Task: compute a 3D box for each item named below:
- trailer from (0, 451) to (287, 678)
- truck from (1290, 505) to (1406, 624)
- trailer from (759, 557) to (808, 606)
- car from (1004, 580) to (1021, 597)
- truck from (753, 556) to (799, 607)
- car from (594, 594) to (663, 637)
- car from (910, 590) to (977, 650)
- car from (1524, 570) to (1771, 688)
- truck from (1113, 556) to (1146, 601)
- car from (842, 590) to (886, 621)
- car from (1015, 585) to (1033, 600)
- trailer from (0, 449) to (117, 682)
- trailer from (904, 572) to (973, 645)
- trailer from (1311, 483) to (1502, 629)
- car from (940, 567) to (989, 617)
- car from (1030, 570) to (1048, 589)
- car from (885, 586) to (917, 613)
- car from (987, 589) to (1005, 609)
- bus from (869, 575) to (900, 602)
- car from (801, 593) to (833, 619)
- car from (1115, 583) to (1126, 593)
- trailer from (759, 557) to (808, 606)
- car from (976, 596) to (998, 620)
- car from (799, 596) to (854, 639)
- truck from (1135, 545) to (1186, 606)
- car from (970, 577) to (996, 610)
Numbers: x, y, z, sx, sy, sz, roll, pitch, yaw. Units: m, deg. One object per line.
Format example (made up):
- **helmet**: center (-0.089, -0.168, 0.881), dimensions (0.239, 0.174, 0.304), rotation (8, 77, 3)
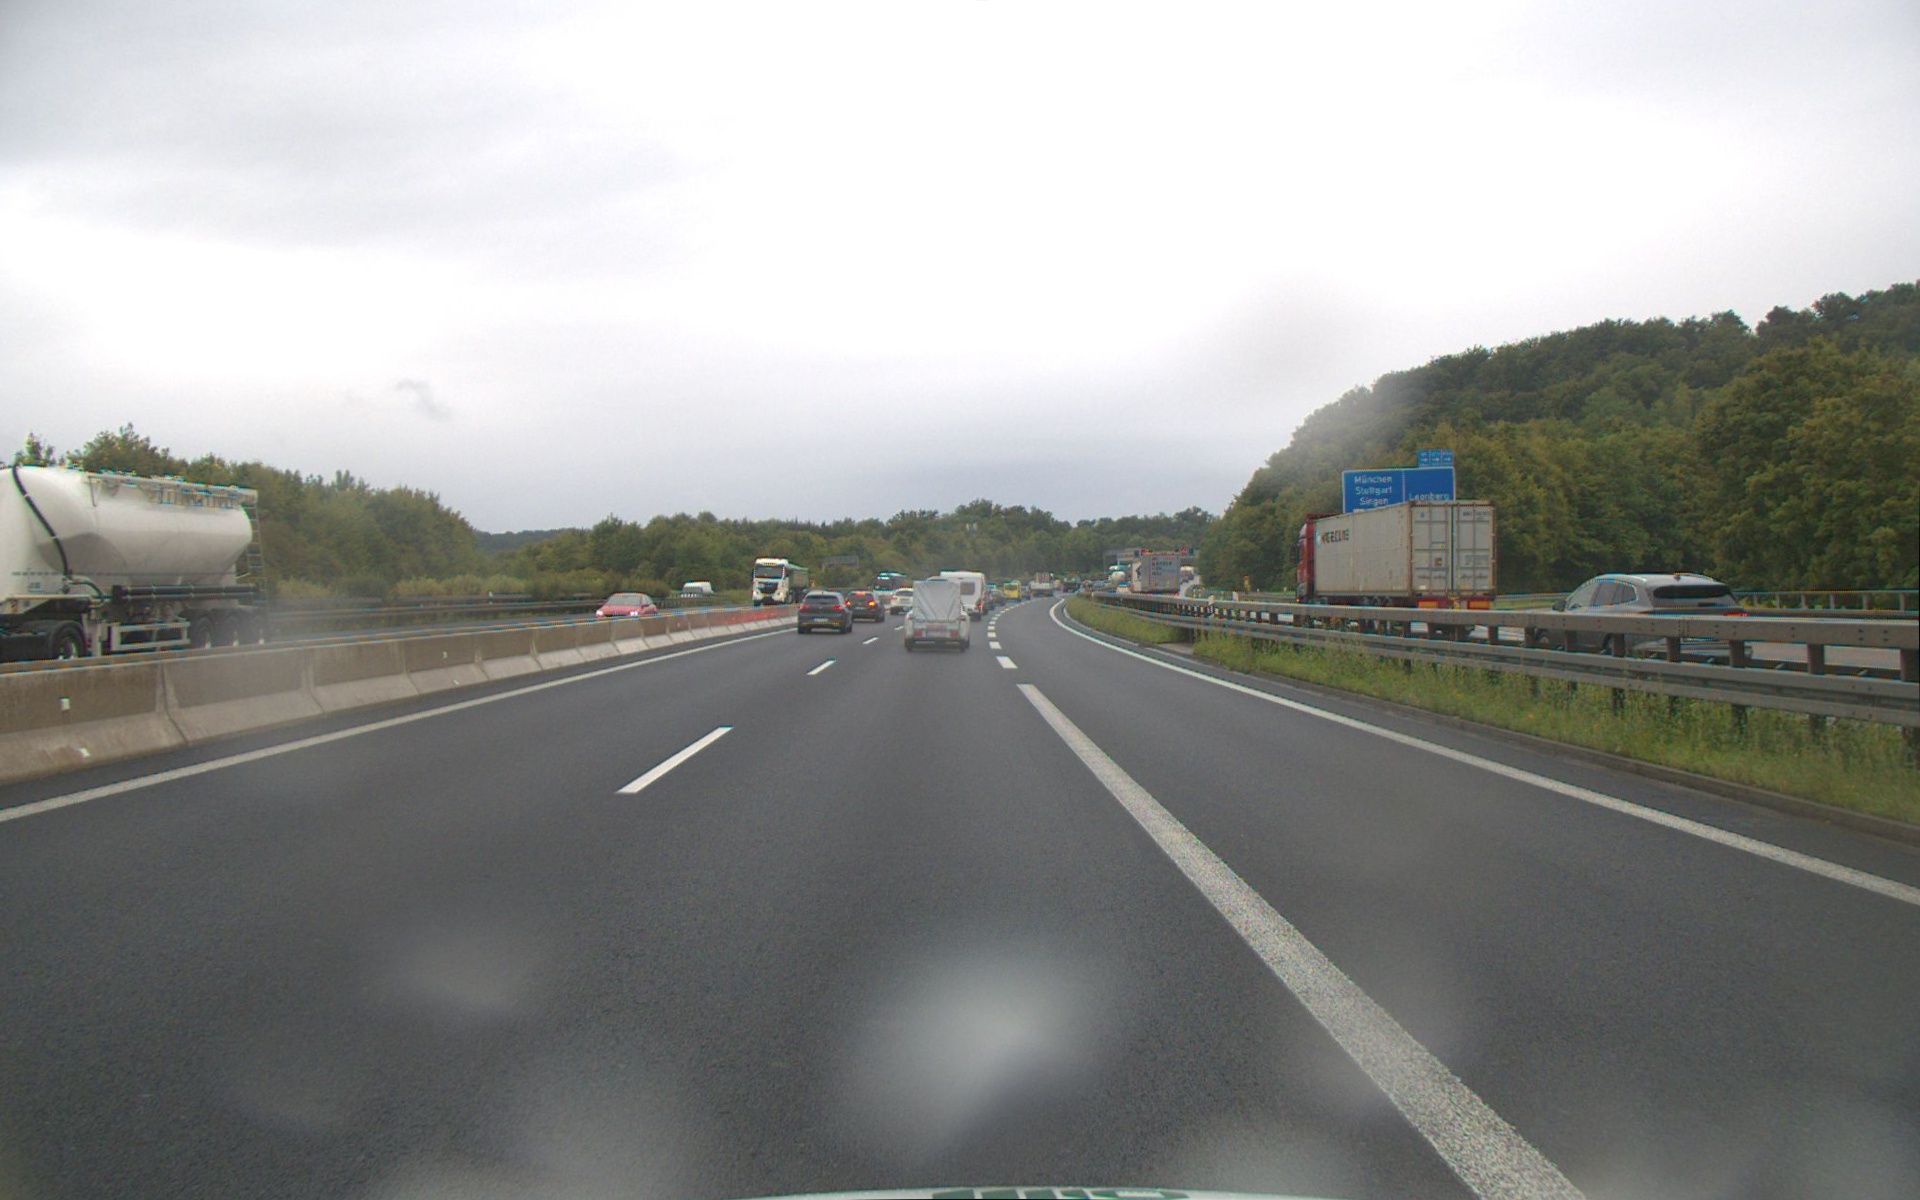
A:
- **trailer**: center (-16.906, -0.588, 32.982), dimensions (2.582, 3.801, 10.810), rotation (0, 0, 0)
- **truck**: center (13.484, -1.169, 57.978), dimensions (2.562, 3.952, 6.391), rotation (0, 0, 0)
- **trailer**: center (-14.041, -1.411, 131.955), dimensions (2.843, 3.814, 8.928), rotation (0, 0, 1)
- **car**: center (5.742, -1.247, 180.670), dimensions (1.640, 1.844, 4.003), rotation (0, 0, 6)
- **truck**: center (-14.152, -1.413, 127.745), dimensions (2.827, 3.814, 5.945), rotation (0, 0, 1)
- **car**: center (-12.921, 0.597, 64.650), dimensions (1.771, 1.608, 4.356), rotation (0, 0, 1)
- **car**: center (-0.420, 0.538, 47.534), dimensions (1.781, 1.644, 4.778), rotation (0, 0, 1)
- **car**: center (10.366, 0.400, 25.341), dimensions (1.734, 1.638, 4.642), rotation (0, 0, -2)
- **truck**: center (18.223, -2.222, 178.440), dimensions (3.148, 4.748, 13.039), rotation (0, 0, 4)
- **car**: center (-4.633, 0.259, 80.302), dimensions (1.728, 1.481, 4.001), rotation (0, 0, 3)
- **car**: center (7.766, -0.911, 200.267), dimensions (1.994, 1.712, 4.002), rotation (0, 0, 4)
- **trailer**: center (-16.918, -0.559, 27.385), dimensions (2.582, 3.780, 6.491), rotation (0, 0, 0)
- **trailer**: center (-0.530, 0.216, 43.867), dimensions (1.641, 1.844, 4.001), rotation (0, 0, 2)
- **trailer**: center (13.510, -1.197, 51.371), dimensions (2.551, 3.962, 12.490), rotation (0, 0, 0)
- **car**: center (0.278, -0.431, 90.541), dimensions (2.455, 2.630, 5.701), rotation (0, 0, 2)
- **car**: center (10.986, -2.843, 230.794), dimensions (2.463, 2.620, 5.314), rotation (0, 0, 3)
- **car**: center (-3.673, -0.018, 103.312), dimensions (1.739, 1.669, 4.044), rotation (0, 0, 2)
- **car**: center (3.288, -0.112, 151.827), dimensions (1.641, 1.844, 4.000), rotation (0, 0, 1)
- **bus**: center (-9.209, -1.415, 203.796), dimensions (2.642, 3.010, 11.901), rotation (2, -1, 3)
- **car**: center (-10.566, 0.454, 122.219), dimensions (1.856, 1.908, 4.543), rotation (0, 0, 1)
- **car**: center (24.195, -1.777, 250.102), dimensions (1.640, 1.481, 4.002), rotation (0, 0, 5)
- **trailer**: center (-14.041, -1.411, 131.955), dimensions (2.843, 3.814, 8.928), rotation (0, 0, 1)
- **car**: center (2.128, 0.594, 129.293), dimensions (1.641, 1.844, 4.000), rotation (0, 0, 1)
- **car**: center (-4.779, 0.604, 59.618), dimensions (1.641, 1.481, 4.000), rotation (0, 0, 0)
- **truck**: center (16.450, -1.915, 136.740), dimensions (3.148, 4.748, 13.036), rotation (0, 0, 2)
- **car**: center (1.507, -0.405, 109.070), dimensions (1.641, 2.103, 3.999), rotation (0, 0, 0)
